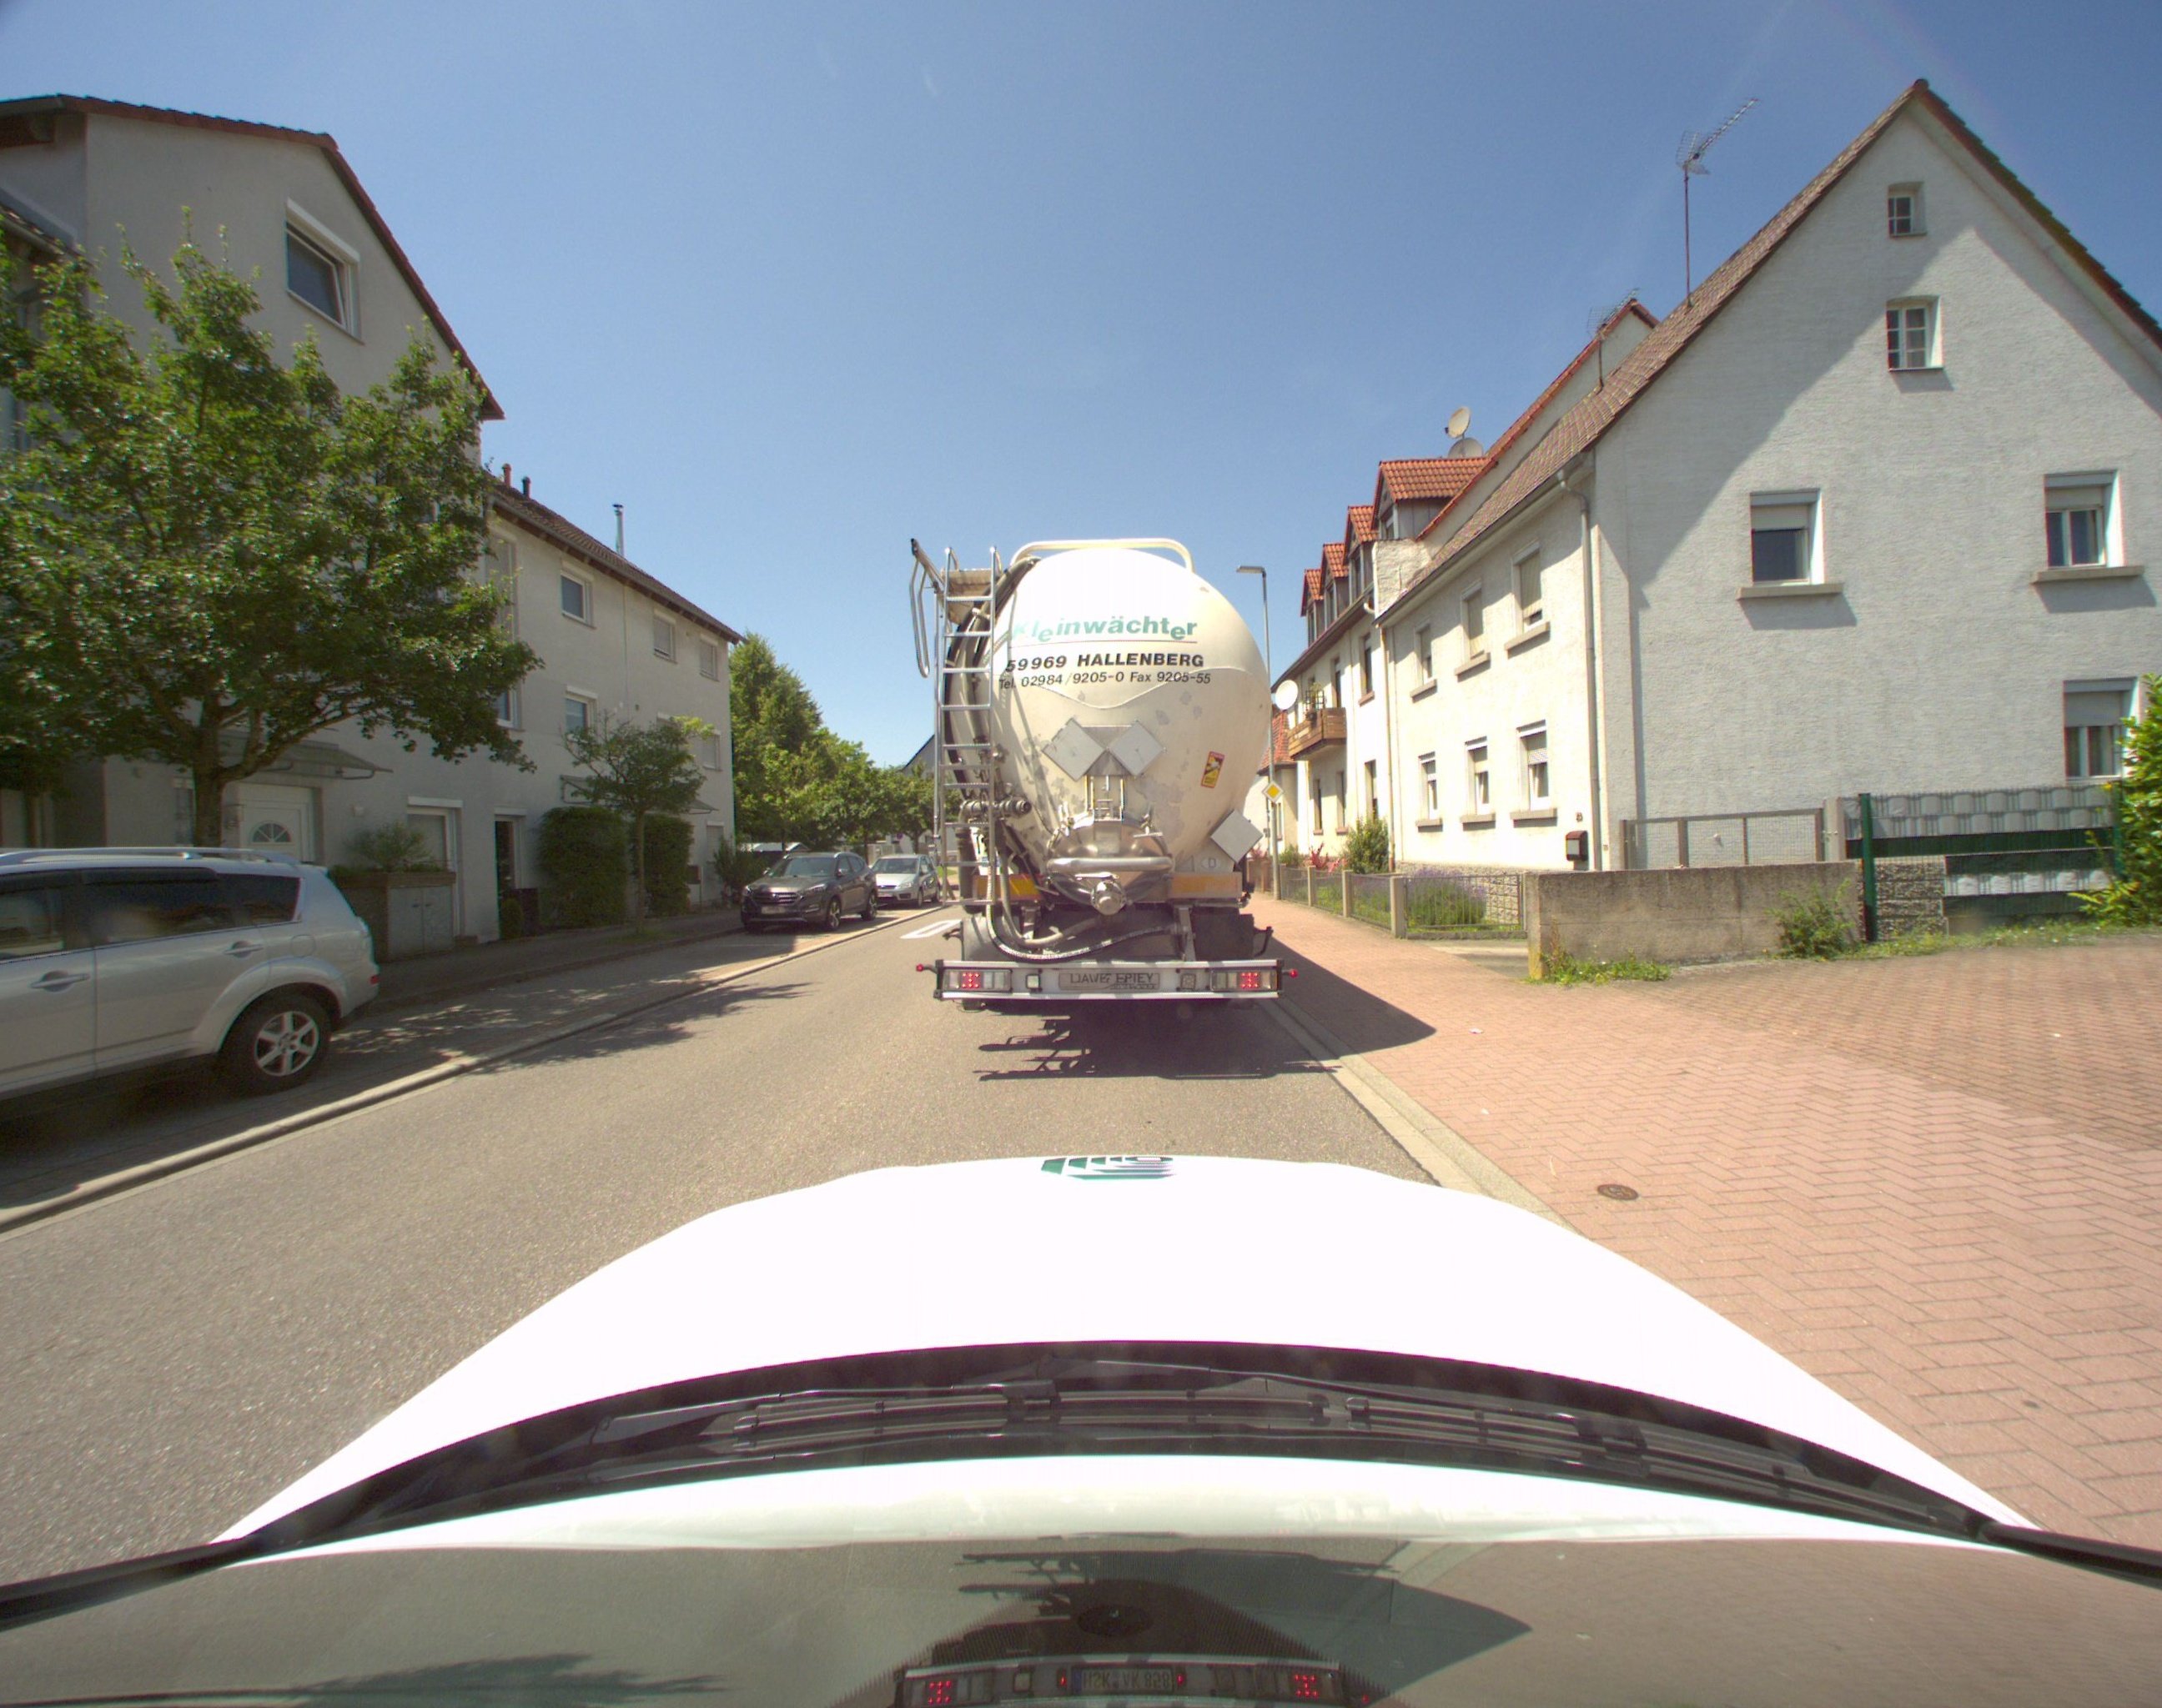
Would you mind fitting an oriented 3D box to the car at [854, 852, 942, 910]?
[{"bbox_3d":[-5.476,0.754,24.812,1.691,1.580,3.839,-1,0,1],"label":"car"}]

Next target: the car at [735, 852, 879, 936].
[{"bbox_3d":[-5.902,0.778,18.070,1.685,1.620,4.000,-1,0,2],"label":"car"}]

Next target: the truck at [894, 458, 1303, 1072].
[{"bbox_3d":[0.285,-0.605,10.179,2.631,4.015,9.566,-1,0,2],"label":"truck"}]

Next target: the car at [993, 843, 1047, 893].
[{"bbox_3d":[-2.485,0.535,34.066,1.649,1.855,4.466,-3,0,2],"label":"car"}]

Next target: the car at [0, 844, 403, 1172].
[{"bbox_3d":[-6.411,0.803,4.358,1.700,1.686,4.526,-1,0,1],"label":"car"}]
